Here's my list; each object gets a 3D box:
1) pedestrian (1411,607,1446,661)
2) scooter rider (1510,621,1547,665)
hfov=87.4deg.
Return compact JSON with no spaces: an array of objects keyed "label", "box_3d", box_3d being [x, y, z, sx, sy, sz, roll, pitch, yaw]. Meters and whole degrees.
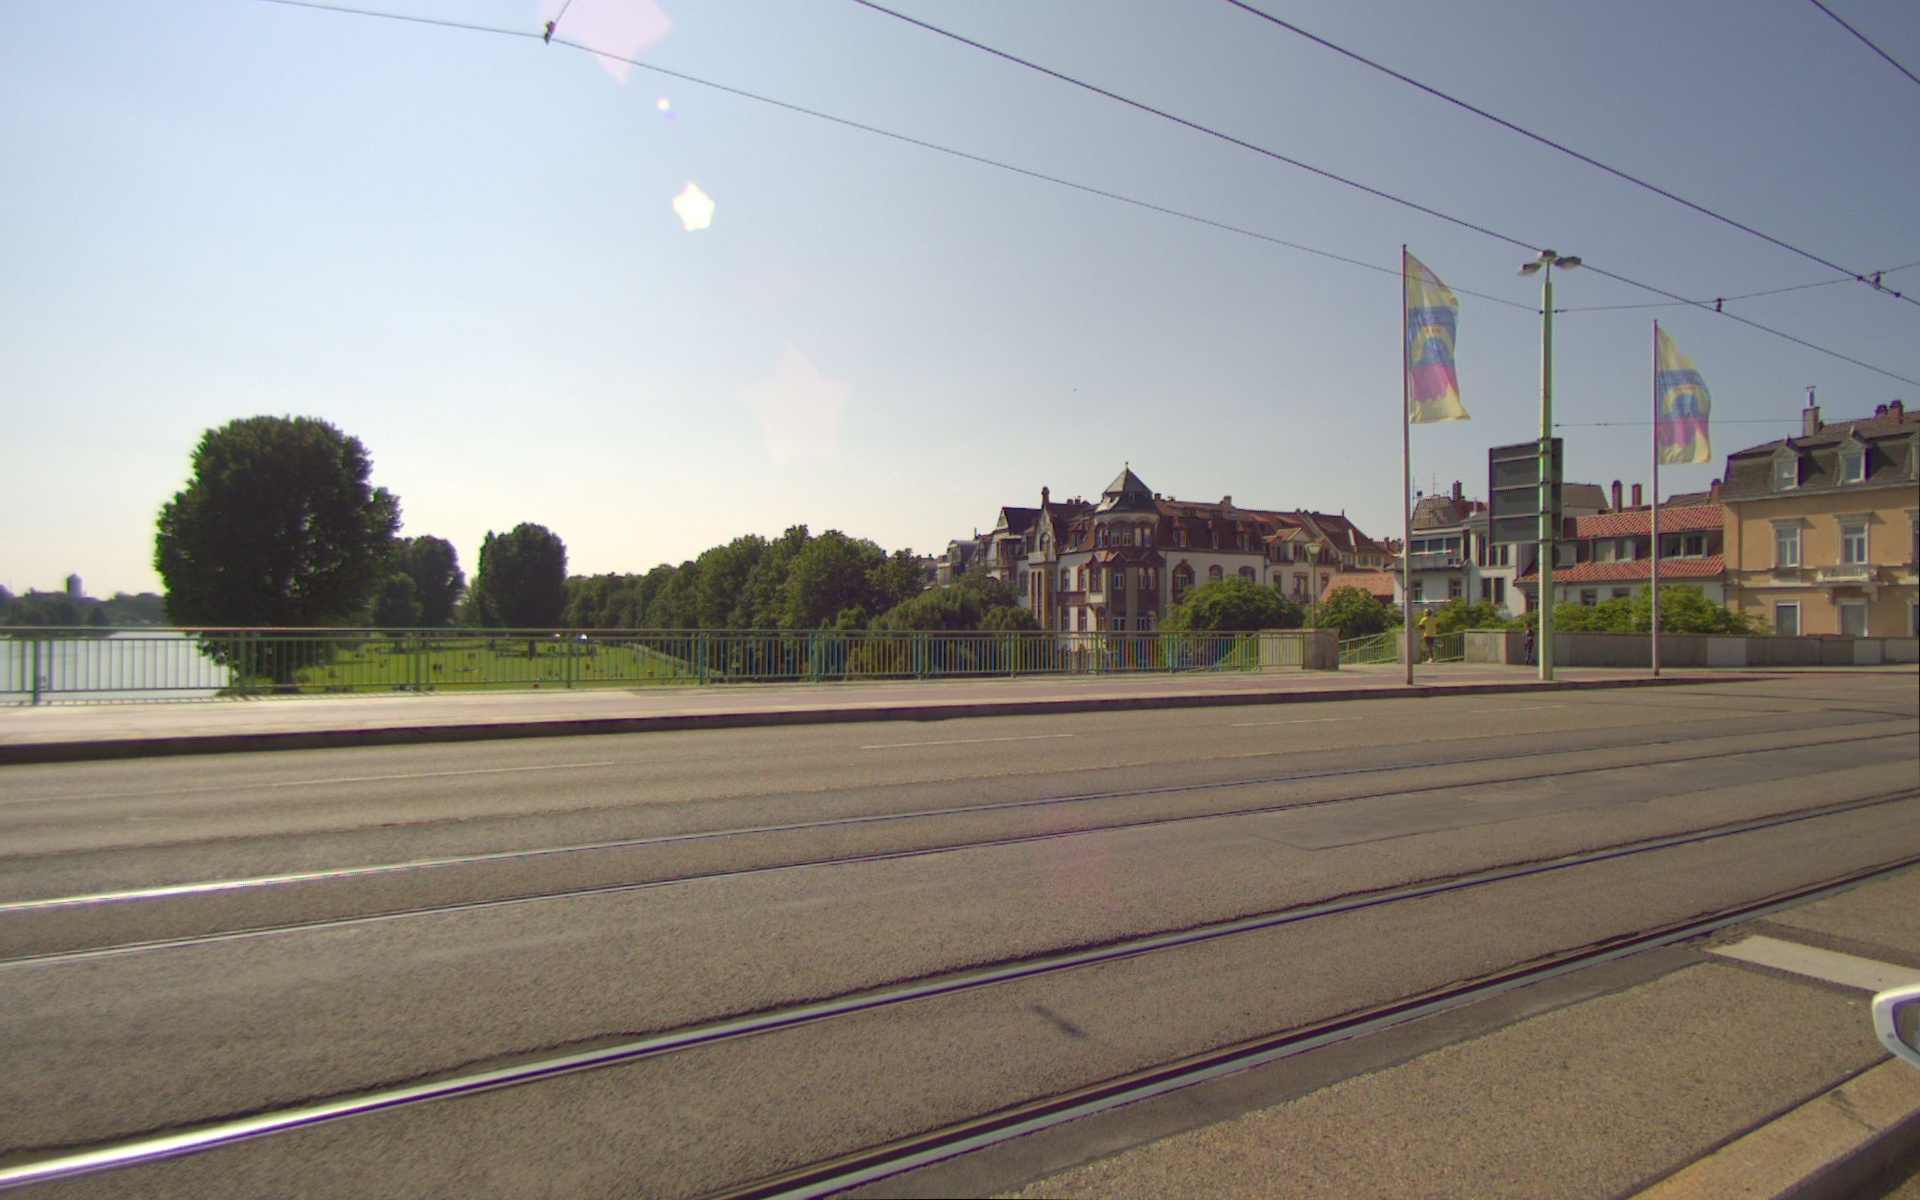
[{"label":"pedestrian","box_3d":[15.787,1.143,33.846,0.789,1.804,0.744,1,-1,-21]},{"label":"scooter rider","box_3d":[18.116,1.361,32.008,0.588,1.333,0.768,2,3,-18]}]
